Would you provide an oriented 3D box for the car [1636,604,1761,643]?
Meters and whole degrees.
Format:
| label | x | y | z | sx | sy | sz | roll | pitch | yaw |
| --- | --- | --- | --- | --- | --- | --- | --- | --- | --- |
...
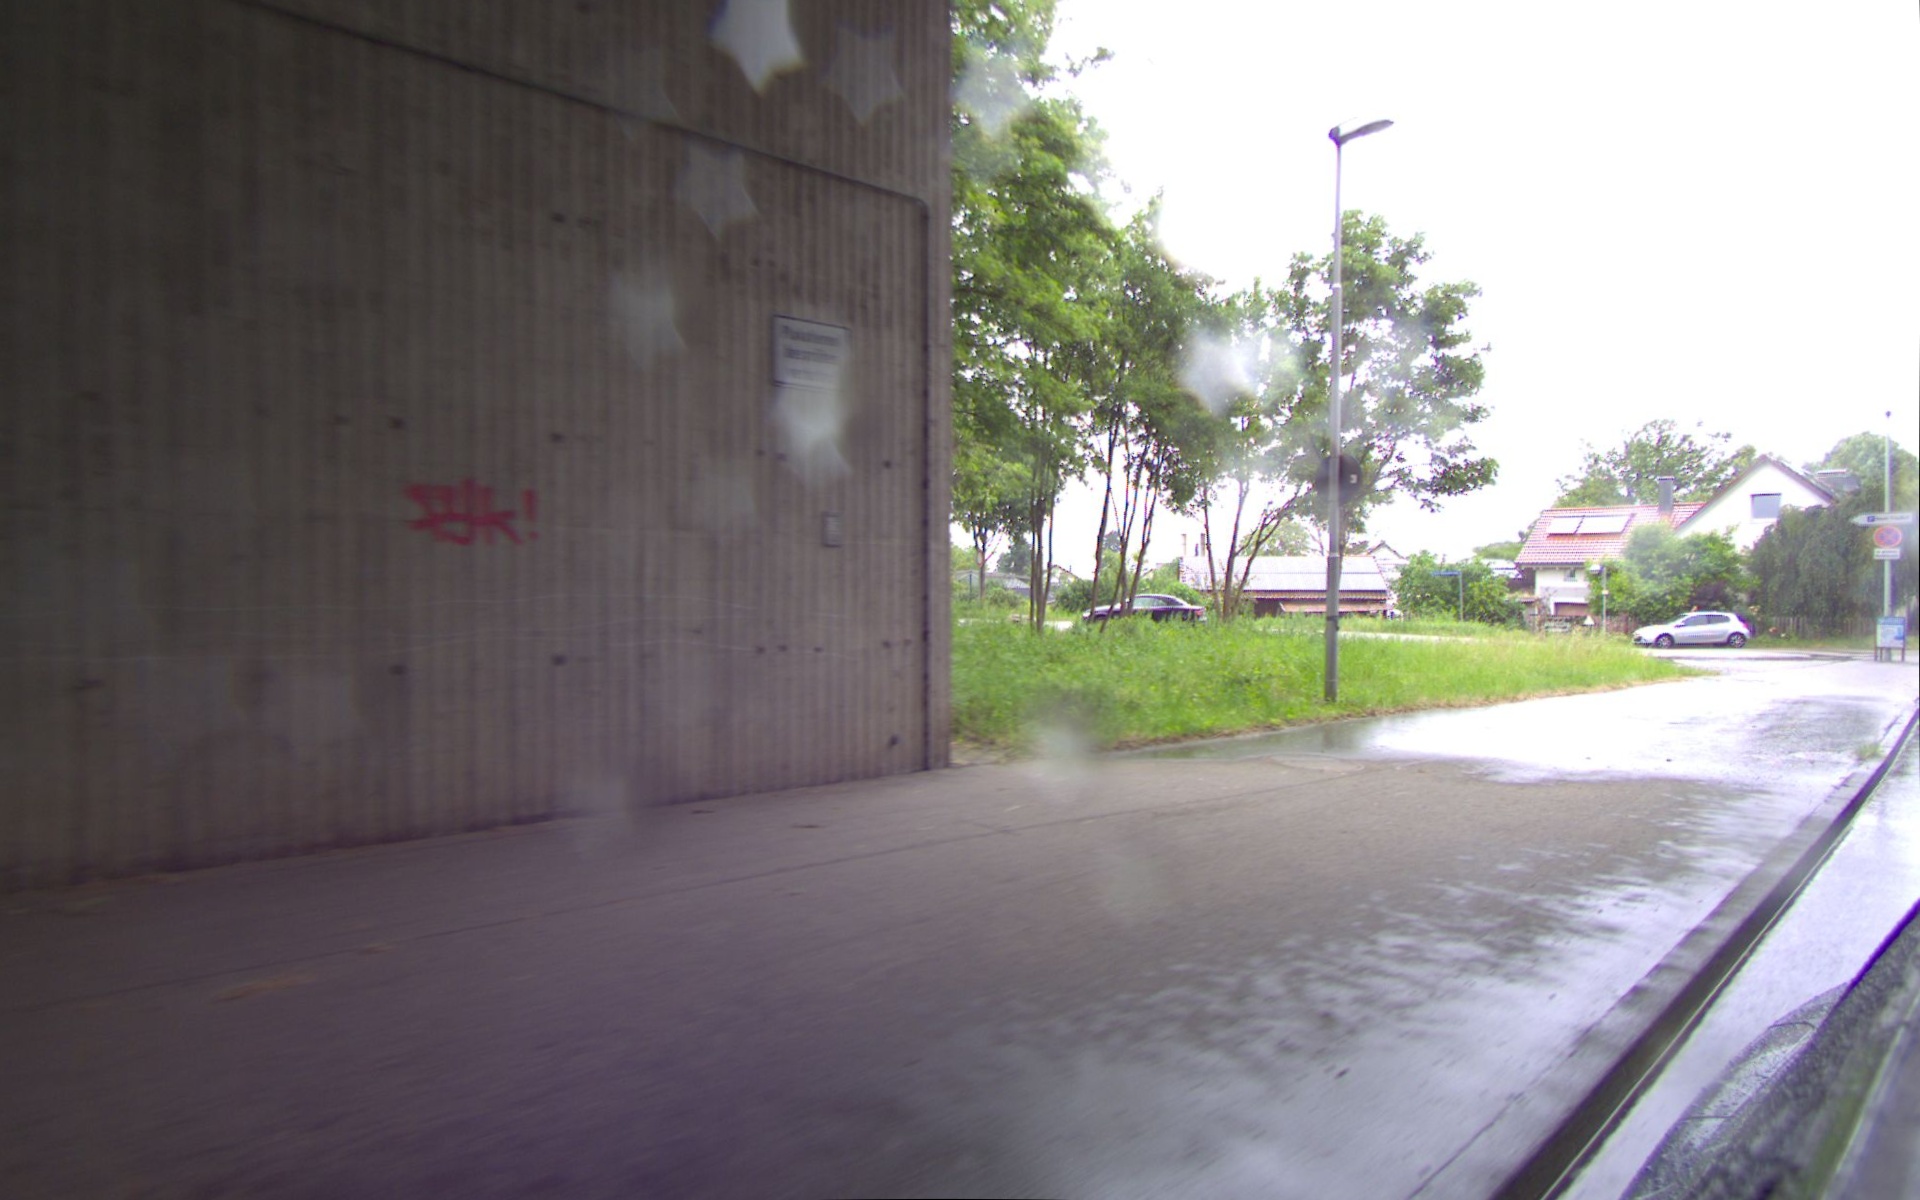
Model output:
| label | x | y | z | sx | sy | sz | roll | pitch | yaw |
| --- | --- | --- | --- | --- | --- | --- | --- | --- | --- |
| car | 30.688 | 0.975 | 42.179 | 3.804 | 1.551 | 1.709 | -1 | -1 | 18 |

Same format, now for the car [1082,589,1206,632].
| label | x | y | z | sx | sy | sz | roll | pitch | yaw |
| --- | --- | --- | --- | --- | --- | --- | --- | --- | --- |
| car | 6.324 | 0.359 | 34.717 | 4.052 | 1.376 | 1.896 | -1 | -1 | 15 |
